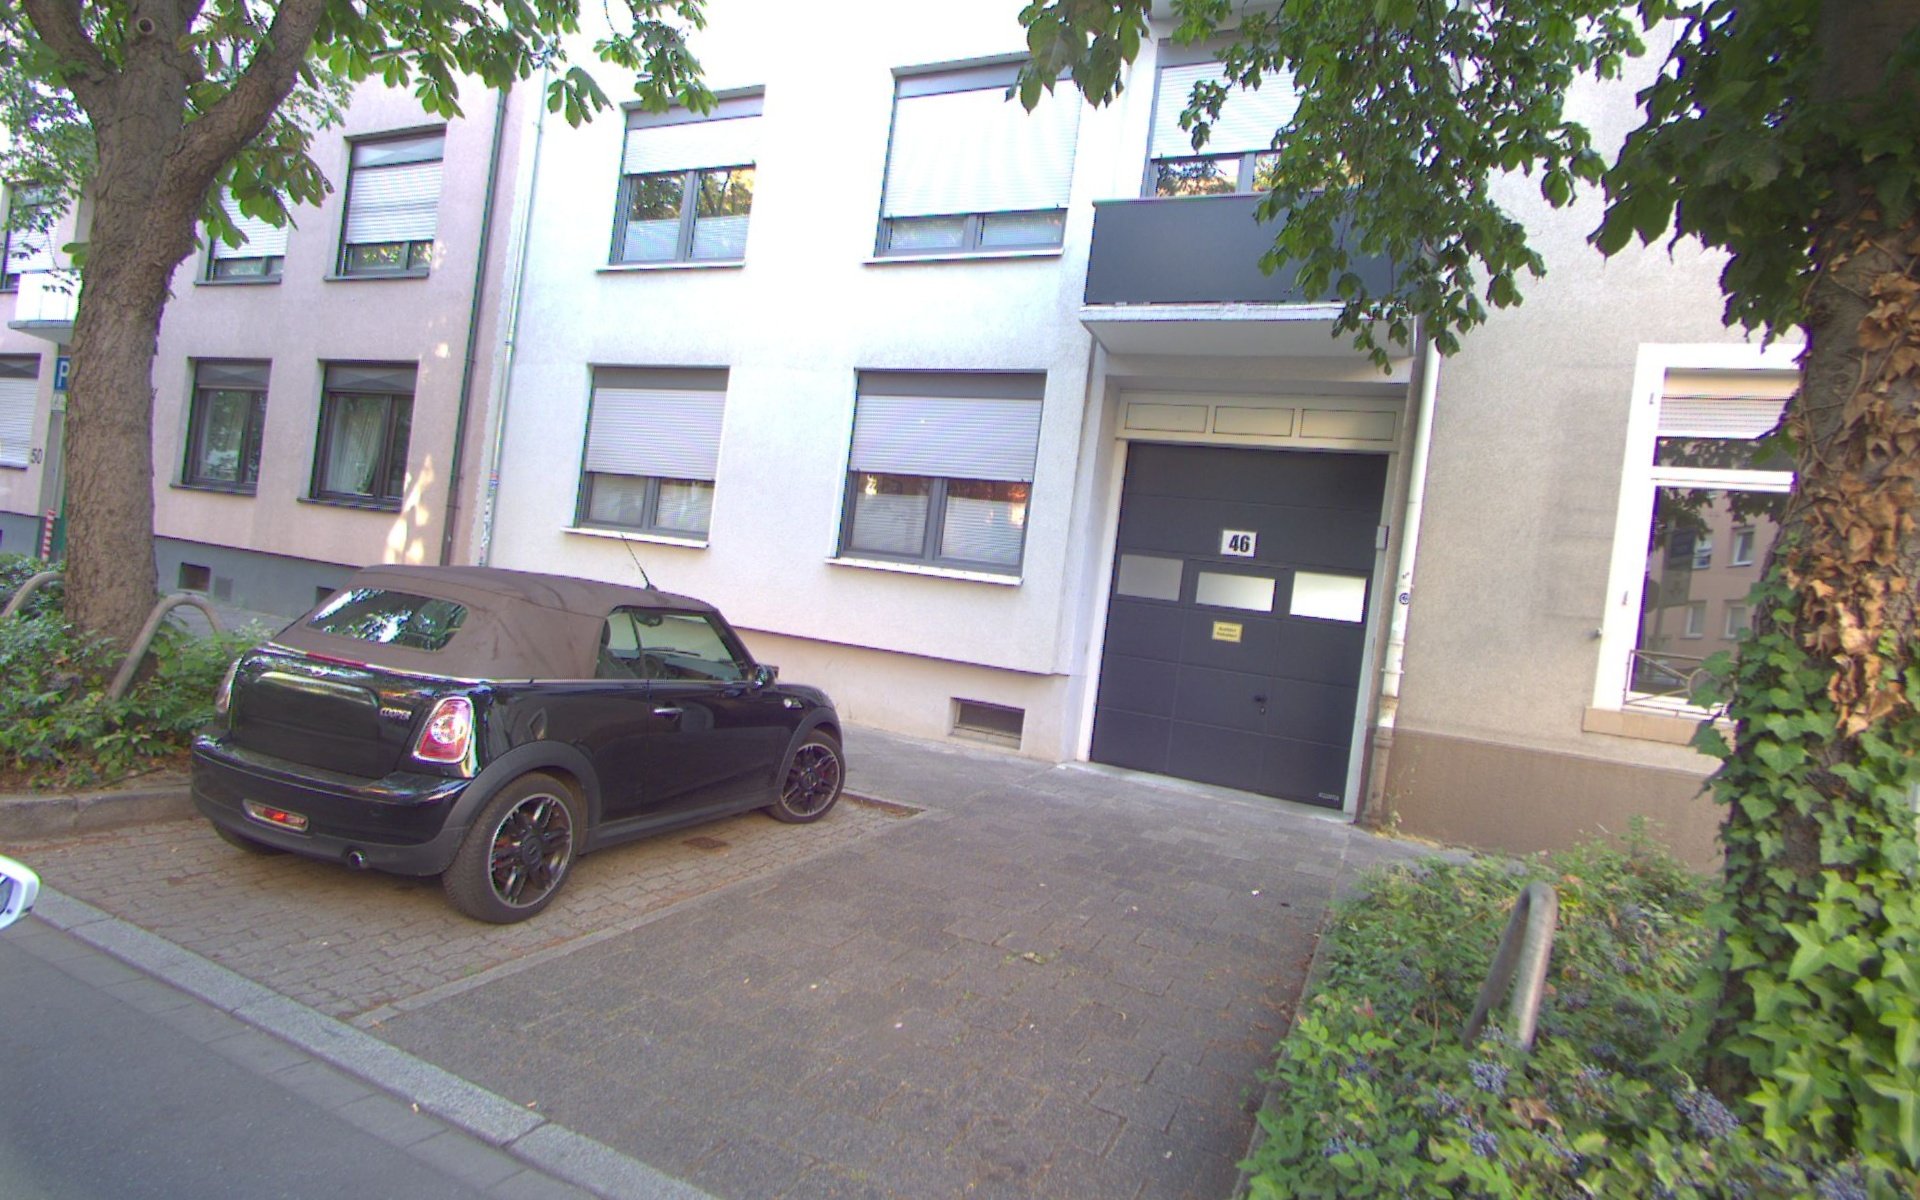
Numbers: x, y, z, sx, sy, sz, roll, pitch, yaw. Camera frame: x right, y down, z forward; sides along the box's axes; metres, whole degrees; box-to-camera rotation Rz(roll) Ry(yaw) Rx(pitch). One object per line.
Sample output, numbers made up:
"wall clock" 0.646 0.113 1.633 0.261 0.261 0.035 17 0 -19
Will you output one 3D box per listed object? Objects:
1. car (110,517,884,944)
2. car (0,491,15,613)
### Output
"car" -2.022 0.550 5.530 1.634 1.380 3.622 7 -1 22
"car" -13.350 -0.805 11.047 1.634 1.494 3.921 7 -1 24
